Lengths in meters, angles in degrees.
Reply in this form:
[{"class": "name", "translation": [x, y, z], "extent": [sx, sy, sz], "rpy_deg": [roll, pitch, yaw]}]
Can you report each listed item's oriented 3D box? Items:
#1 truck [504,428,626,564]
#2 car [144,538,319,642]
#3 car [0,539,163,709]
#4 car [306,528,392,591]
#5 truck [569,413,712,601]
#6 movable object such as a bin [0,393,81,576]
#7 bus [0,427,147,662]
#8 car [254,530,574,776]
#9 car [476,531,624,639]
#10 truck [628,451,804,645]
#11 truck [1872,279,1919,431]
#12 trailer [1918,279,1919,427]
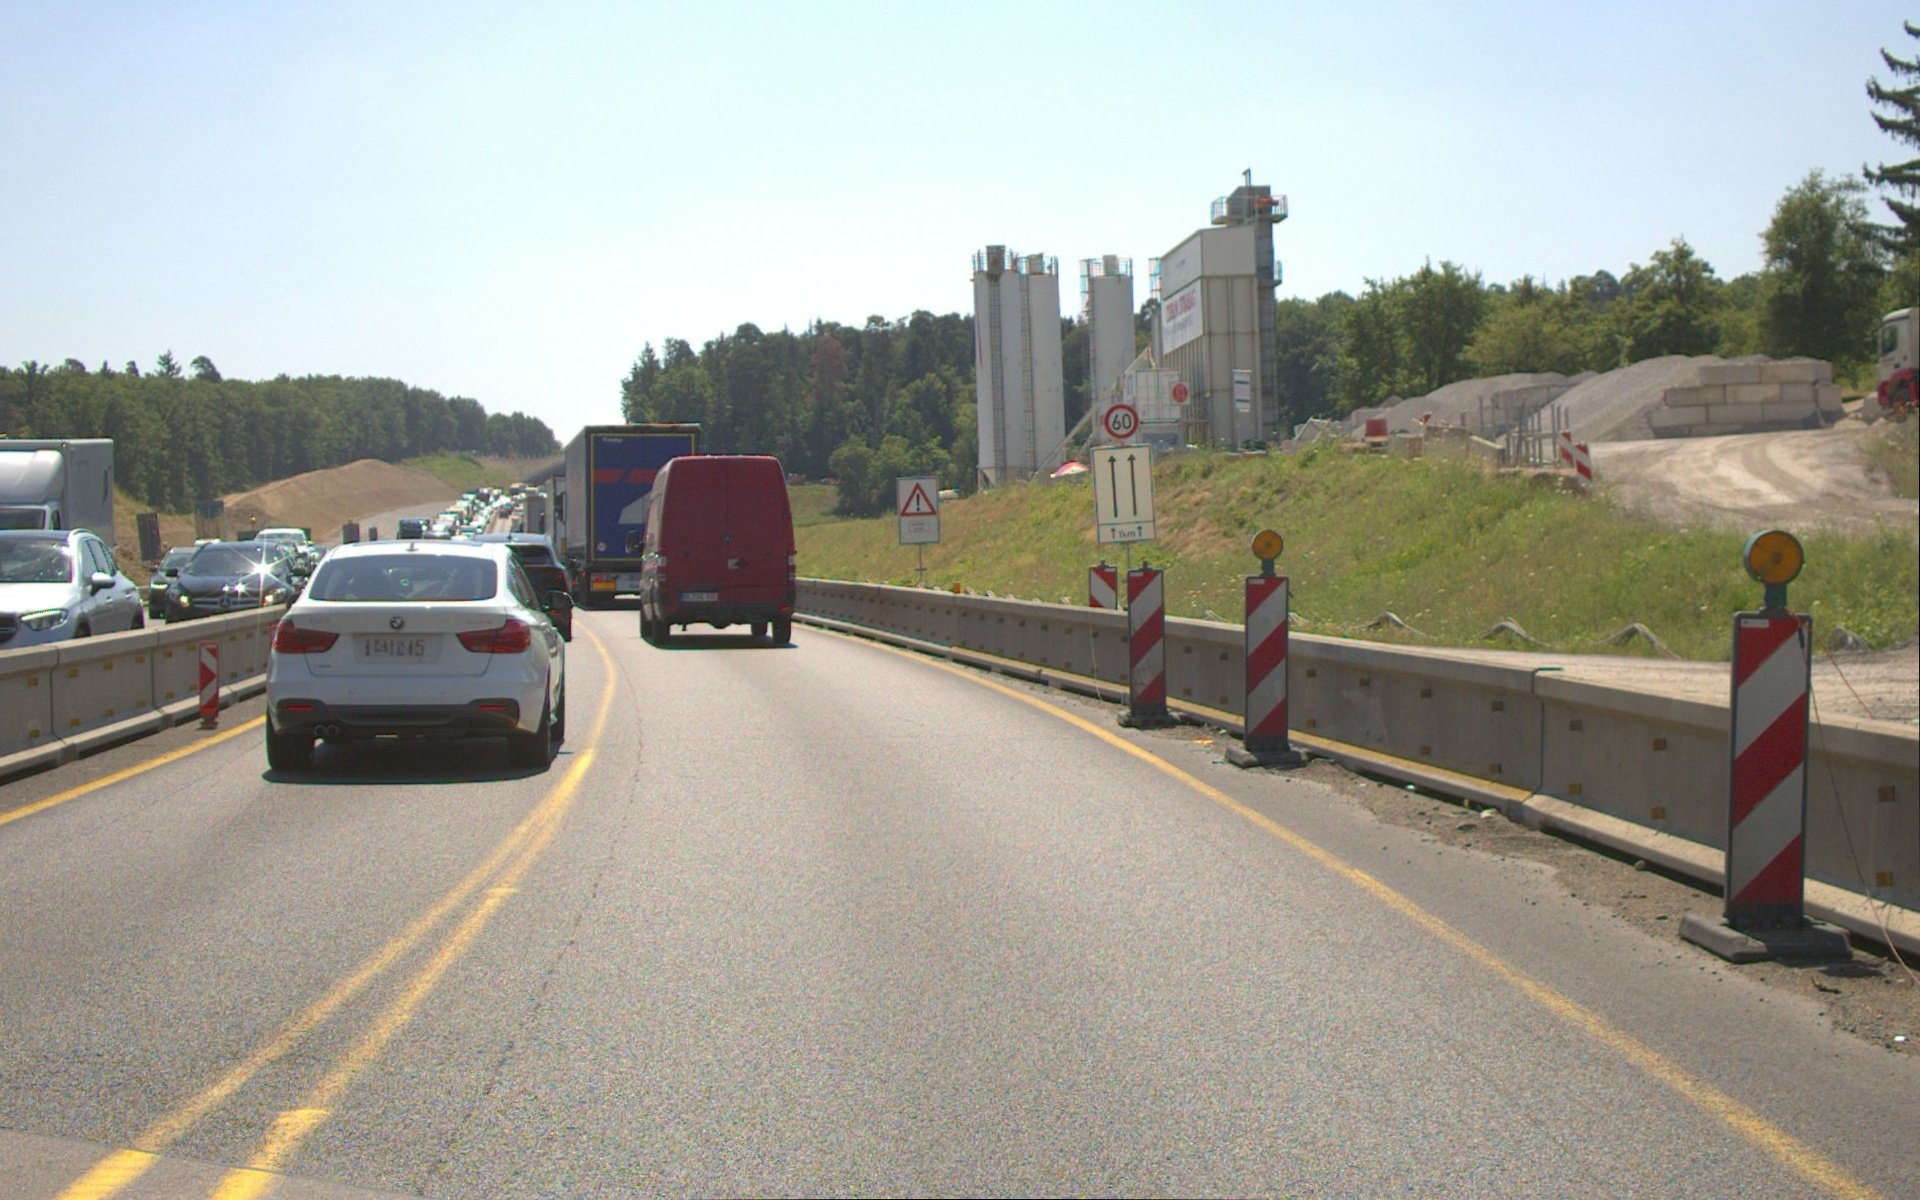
[{"class": "truck", "translation": [-14.315, -3.745, 125.372], "extent": [3.683, 4.675, 9.754], "rpy_deg": [-1, 1, -3]}, {"class": "car", "translation": [-10.594, -0.180, 50.291], "extent": [1.808, 1.409, 4.399], "rpy_deg": [-1, 1, -3]}, {"class": "car", "translation": [-8.934, 0.182, 32.574], "extent": [1.795, 1.470, 4.778], "rpy_deg": [-1, 1, -2]}, {"class": "car", "translation": [-14.983, -1.011, 84.515], "extent": [1.815, 1.450, 4.636], "rpy_deg": [-1, 1, -7]}, {"class": "truck", "translation": [-7.593, -2.147, 80.846], "extent": [3.015, 4.138, 8.274], "rpy_deg": [-1, 1, -7]}, {"class": "movable object such as a bin", "translation": [-41.843, -4.865, 146.941], "extent": [7.636, 7.687, 3.446], "rpy_deg": [-1, 1, -6]}, {"class": "bus", "translation": [-13.512, -0.792, 49.467], "extent": [2.349, 3.115, 7.230], "rpy_deg": [-1, 1, -4]}, {"class": "car", "translation": [-3.688, 0.282, 23.991], "extent": [1.795, 1.529, 5.074], "rpy_deg": [0, 1, -4]}, {"class": "car", "translation": [-6.160, -0.252, 52.002], "extent": [1.795, 1.529, 3.931], "rpy_deg": [-1, 1, -1]}, {"class": "truck", "translation": [-3.675, -0.780, 50.606], "extent": [2.111, 2.624, 6.486], "rpy_deg": [-1, 1, -8]}, {"class": "truck", "translation": [27.625, -6.817, 95.241], "extent": [2.744, 4.081, 4.102], "rpy_deg": [-2, 1, -16]}, {"class": "trailer", "translation": [28.648, -6.757, 91.739], "extent": [2.755, 4.100, 6.748], "rpy_deg": [-2, 1, -16]}]
